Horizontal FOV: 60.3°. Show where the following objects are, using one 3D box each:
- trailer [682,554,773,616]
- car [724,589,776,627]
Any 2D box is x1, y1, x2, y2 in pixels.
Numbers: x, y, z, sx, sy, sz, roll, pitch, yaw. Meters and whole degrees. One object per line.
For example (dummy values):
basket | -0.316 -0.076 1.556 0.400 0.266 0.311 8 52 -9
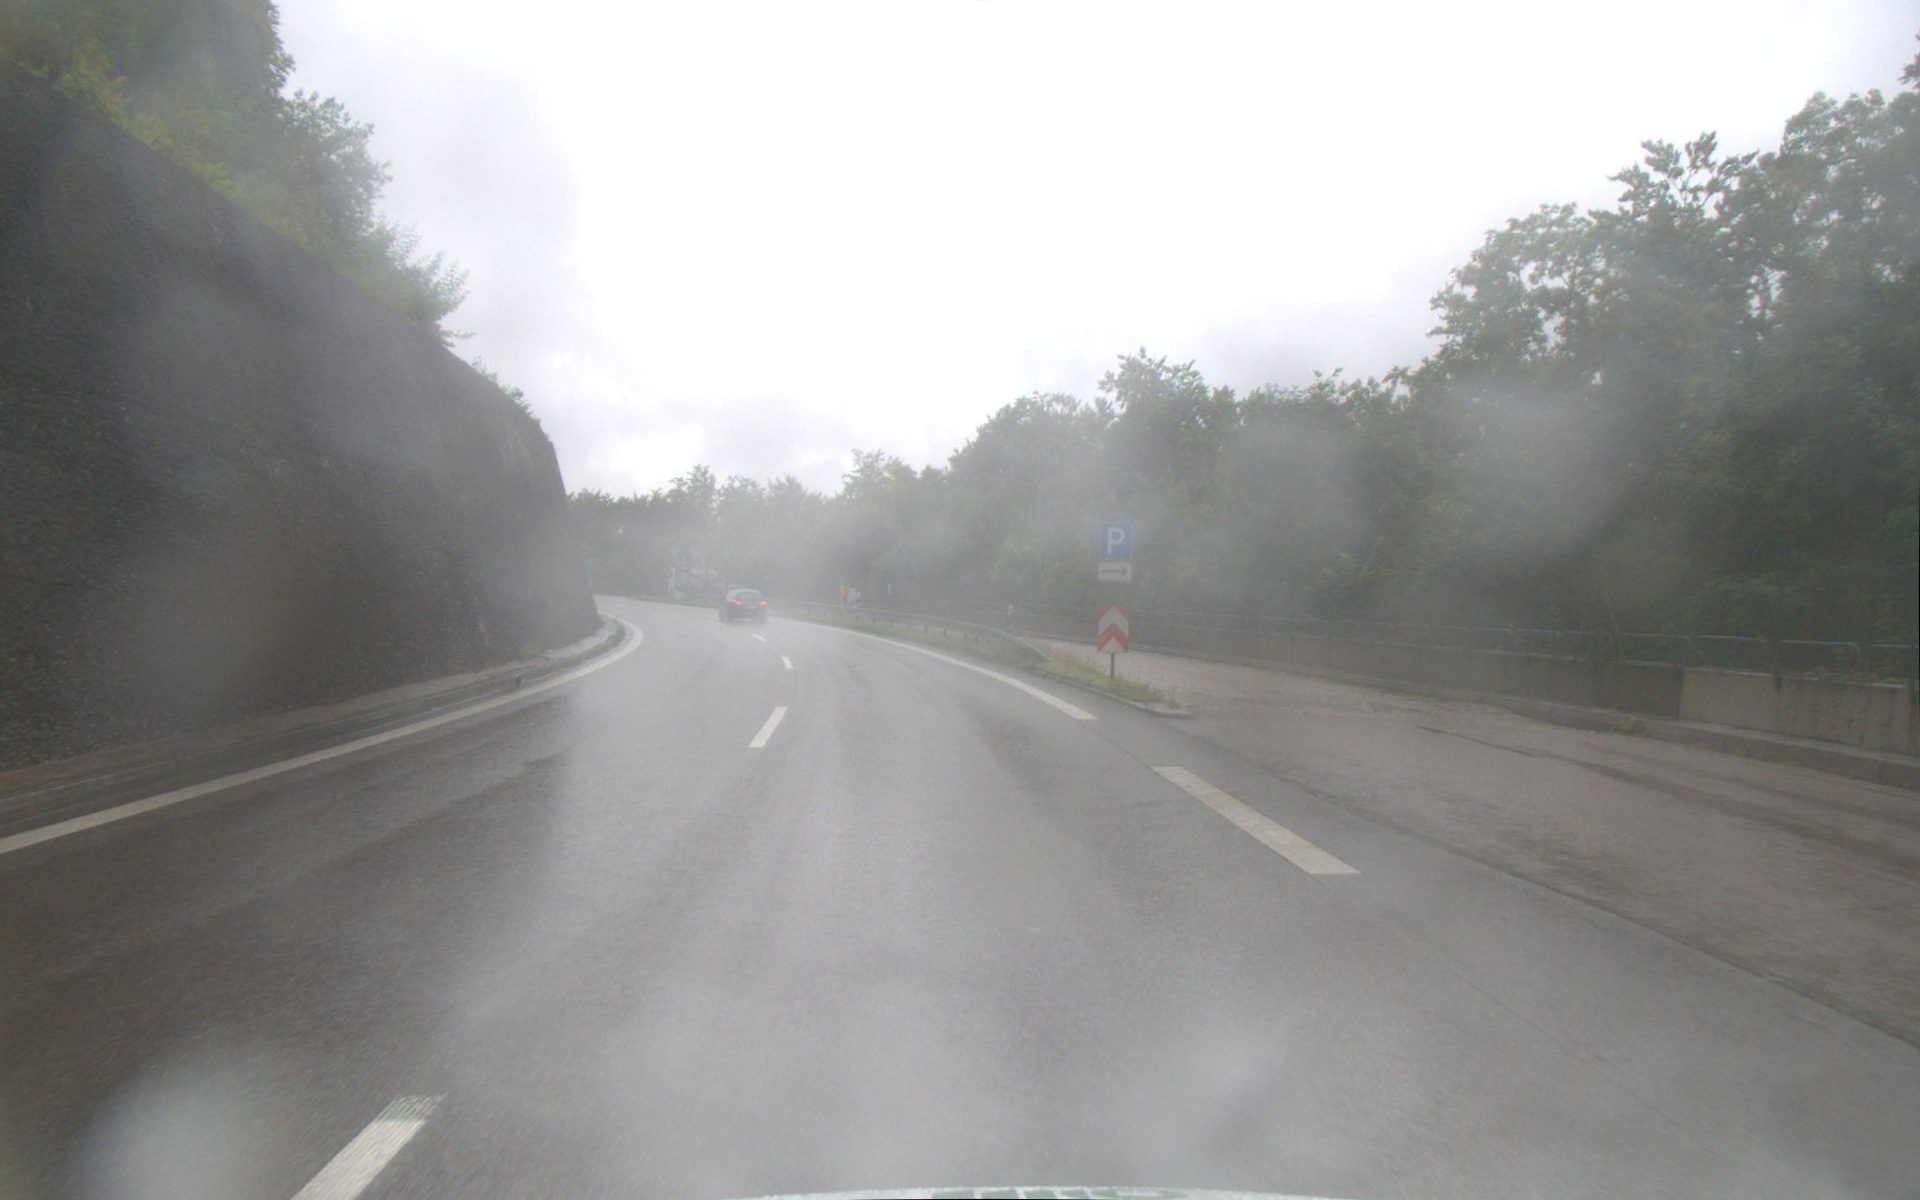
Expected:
trailer | -17.523 -1.158 123.320 2.853 4.319 14.591 2 0 -23
car | -9.664 0.345 75.843 1.871 1.525 3.986 4 0 -14
